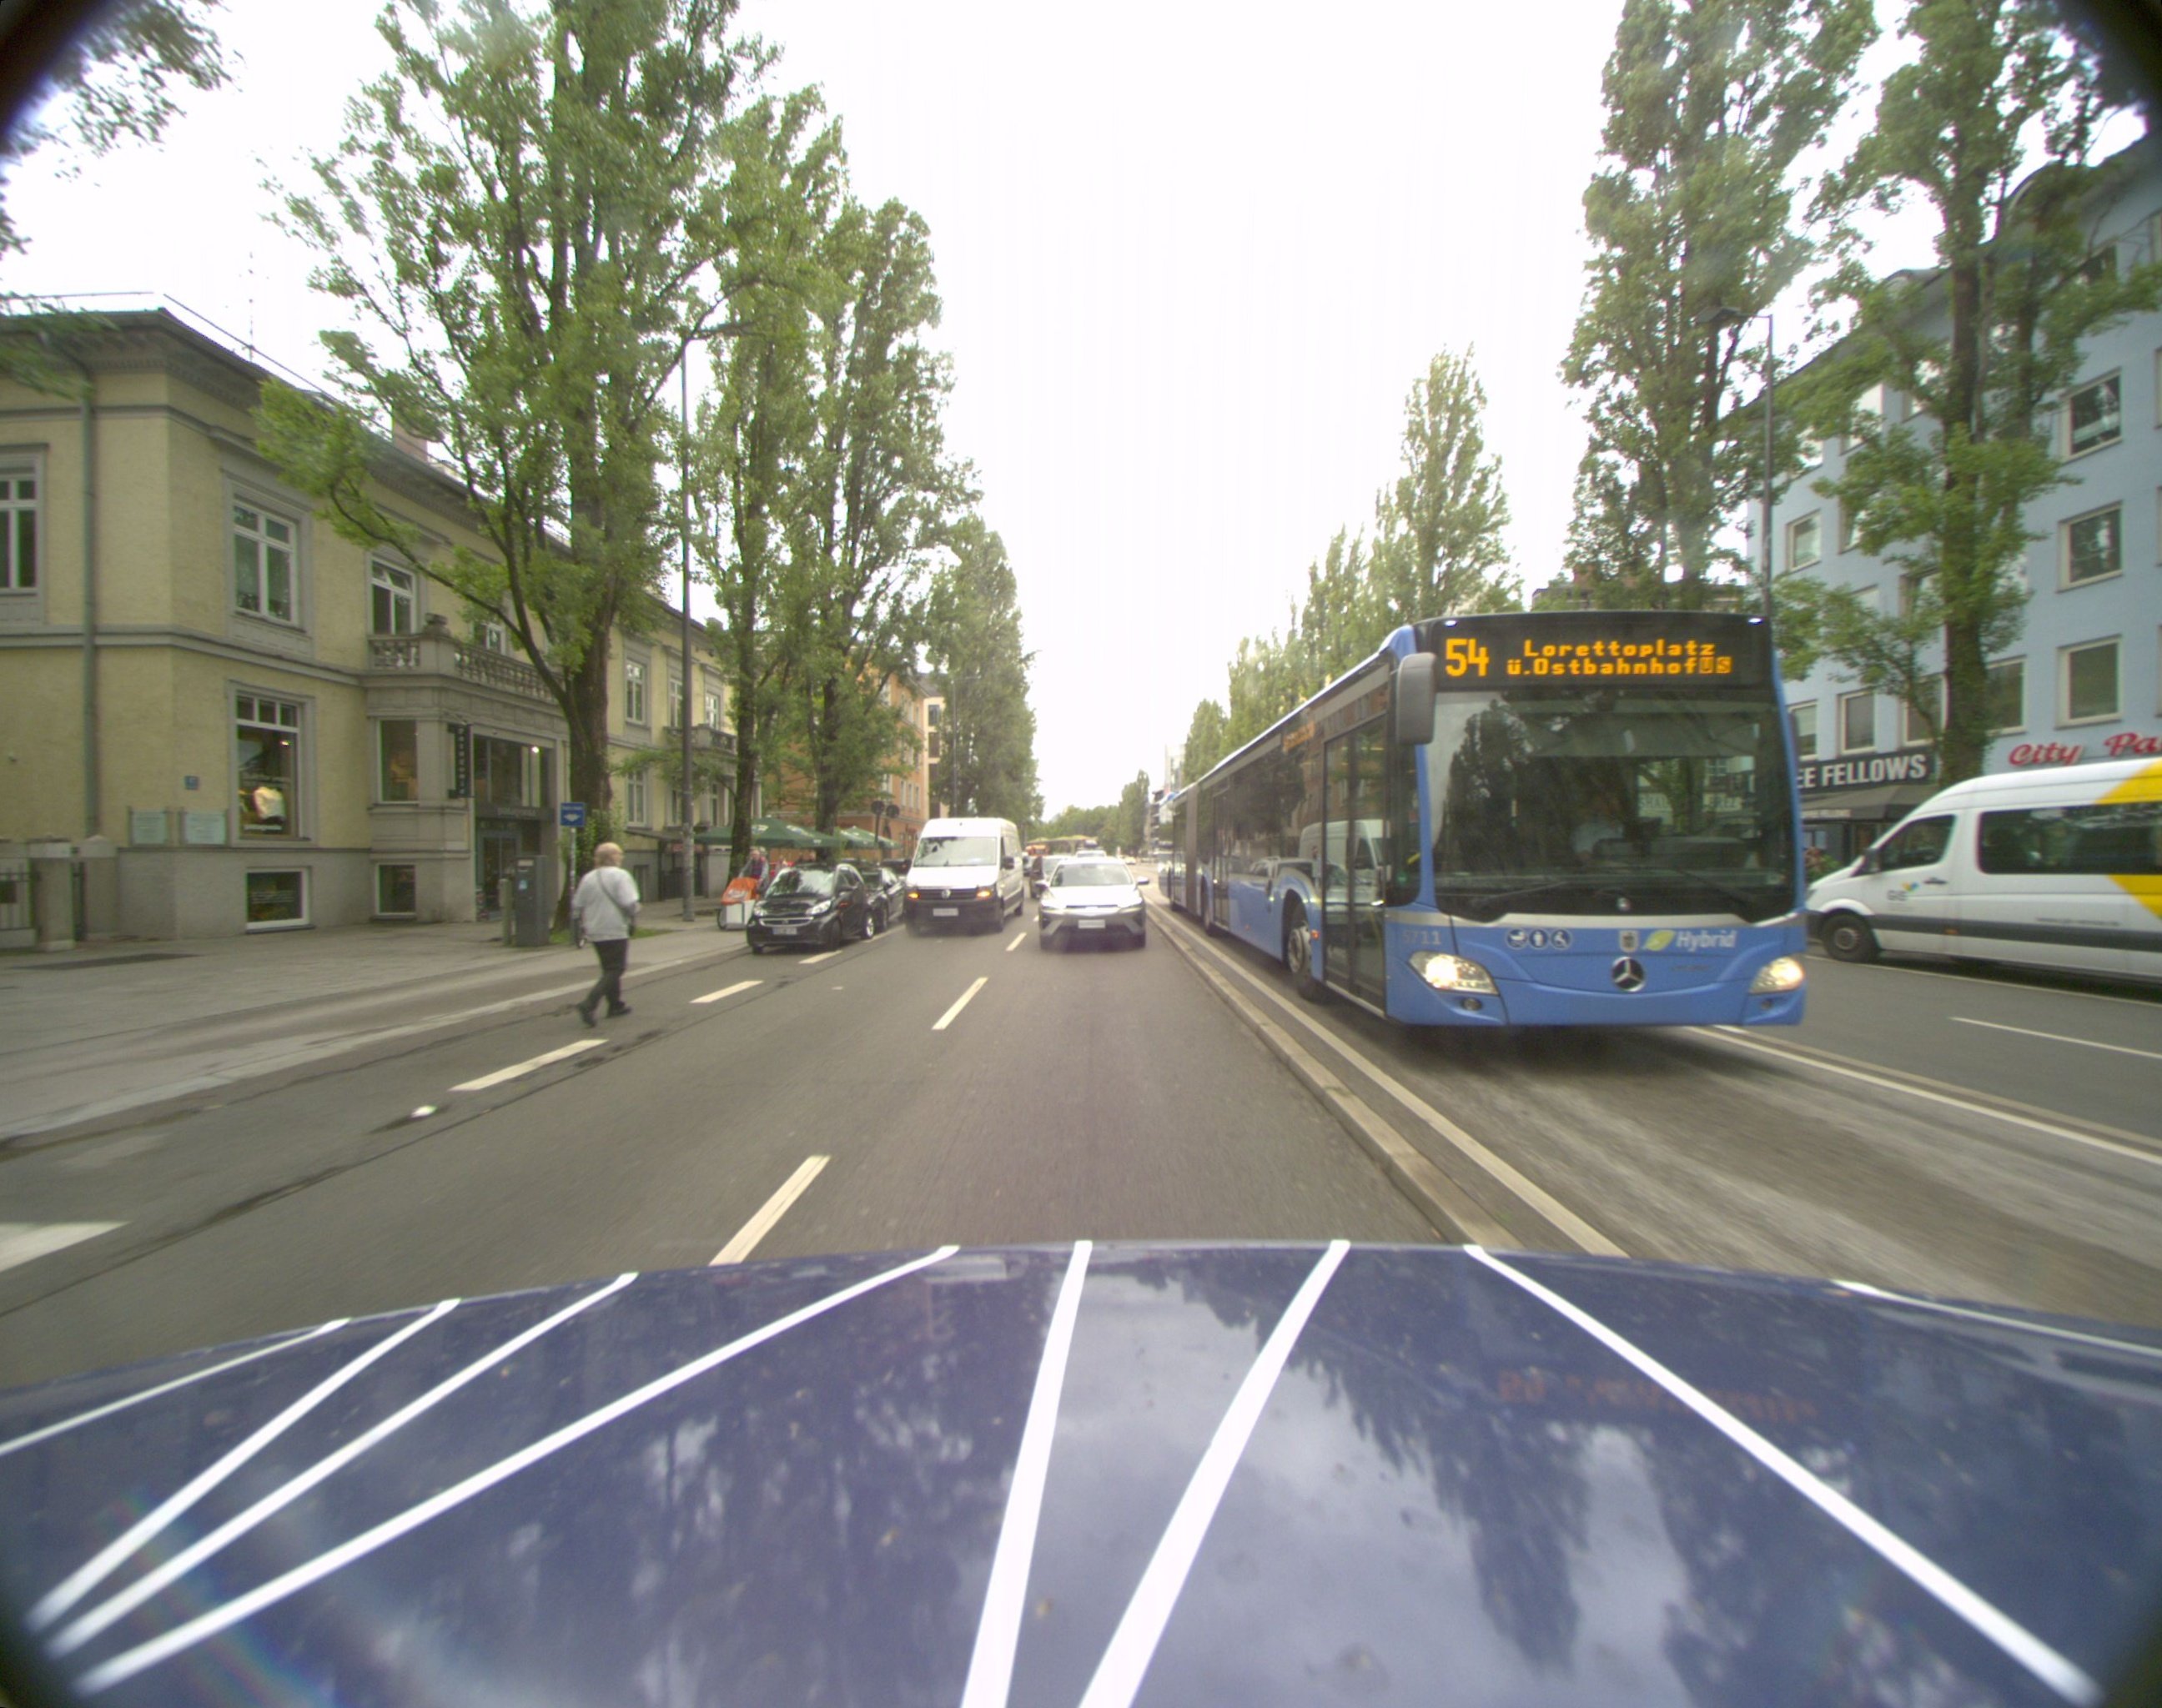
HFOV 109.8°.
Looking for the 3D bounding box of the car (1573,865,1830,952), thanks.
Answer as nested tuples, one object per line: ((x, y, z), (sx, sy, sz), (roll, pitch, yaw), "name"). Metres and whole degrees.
((12.027, 0.965, 15.160), (1.741, 1.411, 4.148), (1, 0, 1), "car")

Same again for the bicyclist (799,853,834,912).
((-7.623, 0.812, 21.934), (0.741, 1.677, 0.748), (-1, 1, -2), "bicyclist")

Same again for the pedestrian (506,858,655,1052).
((-4.813, 0.926, 7.373), (0.829, 1.763, 0.871), (-1, 1, 2), "pedestrian")

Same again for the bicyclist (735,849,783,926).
((-7.482, 0.755, 17.660), (0.831, 1.747, 0.667), (-1, 1, -5), "bicyclist")

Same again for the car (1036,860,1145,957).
((0.172, 0.909, 14.559), (1.742, 1.510, 4.033), (-2, 0, 0), "car")

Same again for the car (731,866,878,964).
((-4.915, 1.031, 13.876), (1.596, 1.509, 2.729), (-2, 0, 1), "car")

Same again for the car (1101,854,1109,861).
((5.225, 0.718, 165.846), (1.718, 1.532, 4.077), (1, 0, 1), "car")

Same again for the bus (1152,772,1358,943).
((3.475, 0.049, 18.140), (2.690, 2.932, 10.052), (0, 0, 1), "bus")

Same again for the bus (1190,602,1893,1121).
((3.334, 0.045, 9.341), (2.696, 2.932, 10.052), (0, 0, 1), "bus")

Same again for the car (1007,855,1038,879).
((-4.069, 0.889, 53.301), (1.789, 1.544, 4.498), (-2, 0, 0), "car")

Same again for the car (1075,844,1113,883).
((0.651, 0.443, 40.073), (1.839, 1.831, 5.129), (-2, 1, 0), "car")

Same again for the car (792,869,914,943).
((-5.159, 1.101, 17.765), (1.714, 1.385, 4.342), (-1, 0, -3), "car")

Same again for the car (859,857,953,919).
((-5.188, 0.950, 23.105), (1.808, 1.628, 4.446), (-2, 0, -1), "car")

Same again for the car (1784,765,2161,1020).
((11.841, 0.403, 8.257), (2.010, 2.553, 6.912), (1, 0, 1), "car")

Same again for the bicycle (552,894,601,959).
((-8.853, 1.236, 13.386), (0.510, 0.988, 1.624), (-1, 0, -27), "bicycle")

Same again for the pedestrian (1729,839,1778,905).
((20.079, 0.523, 22.703), (0.699, 1.915, 0.905), (0, 1, 4), "pedestrian")

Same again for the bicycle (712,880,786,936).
((-7.470, 1.194, 17.213), (0.887, 1.113, 2.101), (0, 0, -4), "bicycle")

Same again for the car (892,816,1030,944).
((-2.592, 0.509, 18.335), (2.068, 2.478, 6.730), (-1, 0, 1), "car")

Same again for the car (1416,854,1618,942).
((9.085, 0.818, 16.342), (1.775, 1.625, 4.455), (0, 0, 0), "car")

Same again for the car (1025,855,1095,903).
((-0.865, 0.863, 28.146), (1.884, 1.582, 4.188), (-2, 0, -11), "car")
